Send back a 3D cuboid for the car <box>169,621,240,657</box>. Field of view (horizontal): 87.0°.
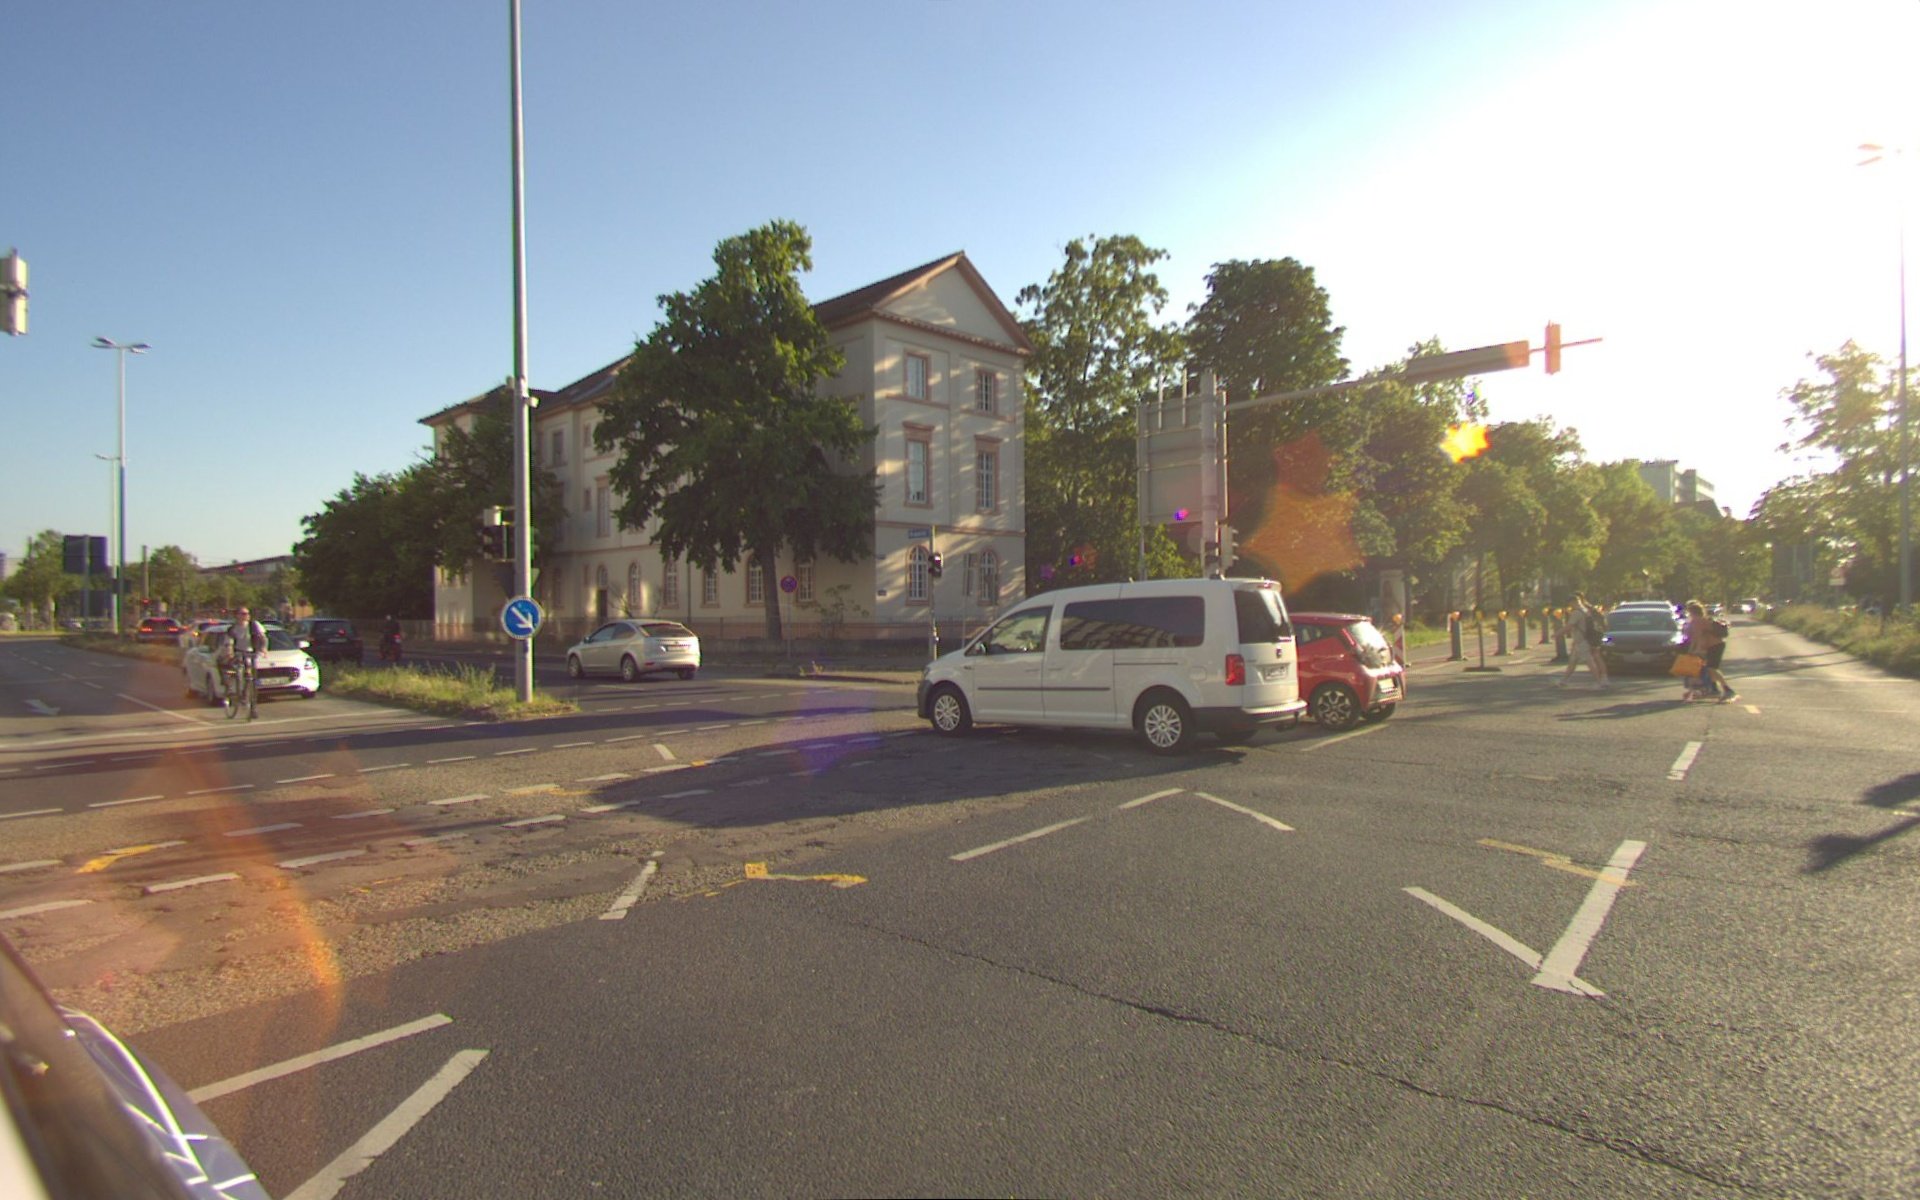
[{"bbox_3d":[-32.999,1.672,44.171,4.292,1.473,1.741,-1,-1,42],"label":"car"}]

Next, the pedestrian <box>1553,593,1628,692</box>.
[{"bbox_3d":[11.370,0.750,18.244,1.082,1.721,0.670,-1,-1,36],"label":"pedestrian"}]

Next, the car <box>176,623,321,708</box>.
[{"bbox_3d":[-14.278,1.230,20.234,3.709,1.510,1.740,-1,-1,44],"label":"car"}]

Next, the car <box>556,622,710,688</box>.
[{"bbox_3d":[-8.163,1.300,25.048,4.292,1.473,1.741,-1,-1,42],"label":"car"}]

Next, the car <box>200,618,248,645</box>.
[{"bbox_3d":[-48.227,2.055,66.268,4.292,1.648,1.741,-1,-1,42],"label":"car"}]

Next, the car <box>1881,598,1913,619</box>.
[{"bbox_3d":[94.416,0.881,101.991,1.997,2.029,3.949,-1,-1,38],"label":"car"}]

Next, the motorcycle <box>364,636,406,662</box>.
[{"bbox_3d":[-20.821,1.769,36.626,2.160,0.886,0.632,-1,-1,40],"label":"motorcycle"}]

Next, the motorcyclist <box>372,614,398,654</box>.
[{"bbox_3d":[-20.789,1.225,36.591,0.755,1.417,0.613,-1,-1,40],"label":"motorcyclist"}]

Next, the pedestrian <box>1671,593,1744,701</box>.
[{"bbox_3d":[11.878,0.738,16.109,0.881,1.663,0.670,-1,-1,36],"label":"pedestrian"}]

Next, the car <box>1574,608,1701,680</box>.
[{"bbox_3d":[15.268,0.926,22.736,1.998,1.457,3.598,-1,-1,40],"label":"car"}]

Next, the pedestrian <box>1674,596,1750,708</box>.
[{"bbox_3d":[11.501,0.777,15.506,0.888,1.663,0.614,-1,-1,36],"label":"pedestrian"}]

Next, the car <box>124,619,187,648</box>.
[{"bbox_3d":[-43.636,1.784,54.852,4.292,1.473,2.021,-1,-1,42],"label":"car"}]

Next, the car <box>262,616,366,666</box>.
[{"bbox_3d":[-20.555,1.272,32.139,4.292,1.473,1.741,-1,-1,42],"label":"car"}]

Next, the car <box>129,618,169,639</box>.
[{"bbox_3d":[-62.640,2.159,78.190,2.015,1.566,4.304,0,-1,-34],"label":"car"}]

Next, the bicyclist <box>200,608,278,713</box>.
[{"bbox_3d":[-11.550,0.940,16.215,1.023,1.616,0.827,-2,-1,42],"label":"bicyclist"}]

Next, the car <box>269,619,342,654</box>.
[{"bbox_3d":[-29.393,1.595,45.407,4.292,1.473,1.741,-1,-1,42],"label":"car"}]

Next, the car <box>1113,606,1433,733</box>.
[{"bbox_3d":[4.168,0.849,13.819,3.812,1.489,1.689,-1,-1,43],"label":"car"}]

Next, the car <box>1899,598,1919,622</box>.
[{"bbox_3d":[81.773,0.865,86.402,1.997,2.029,3.949,-1,-1,38],"label":"car"}]

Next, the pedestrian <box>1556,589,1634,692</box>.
[{"bbox_3d":[11.861,0.738,18.905,1.167,1.863,0.811,-1,-1,36],"label":"pedestrian"}]

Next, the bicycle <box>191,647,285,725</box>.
[{"bbox_3d":[-11.597,1.346,16.228,2.080,1.116,0.822,-1,-1,42],"label":"bicycle"}]

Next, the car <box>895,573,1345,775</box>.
[{"bbox_3d":[1.626,0.727,11.686,4.945,1.861,1.808,-1,-1,42],"label":"car"}]
